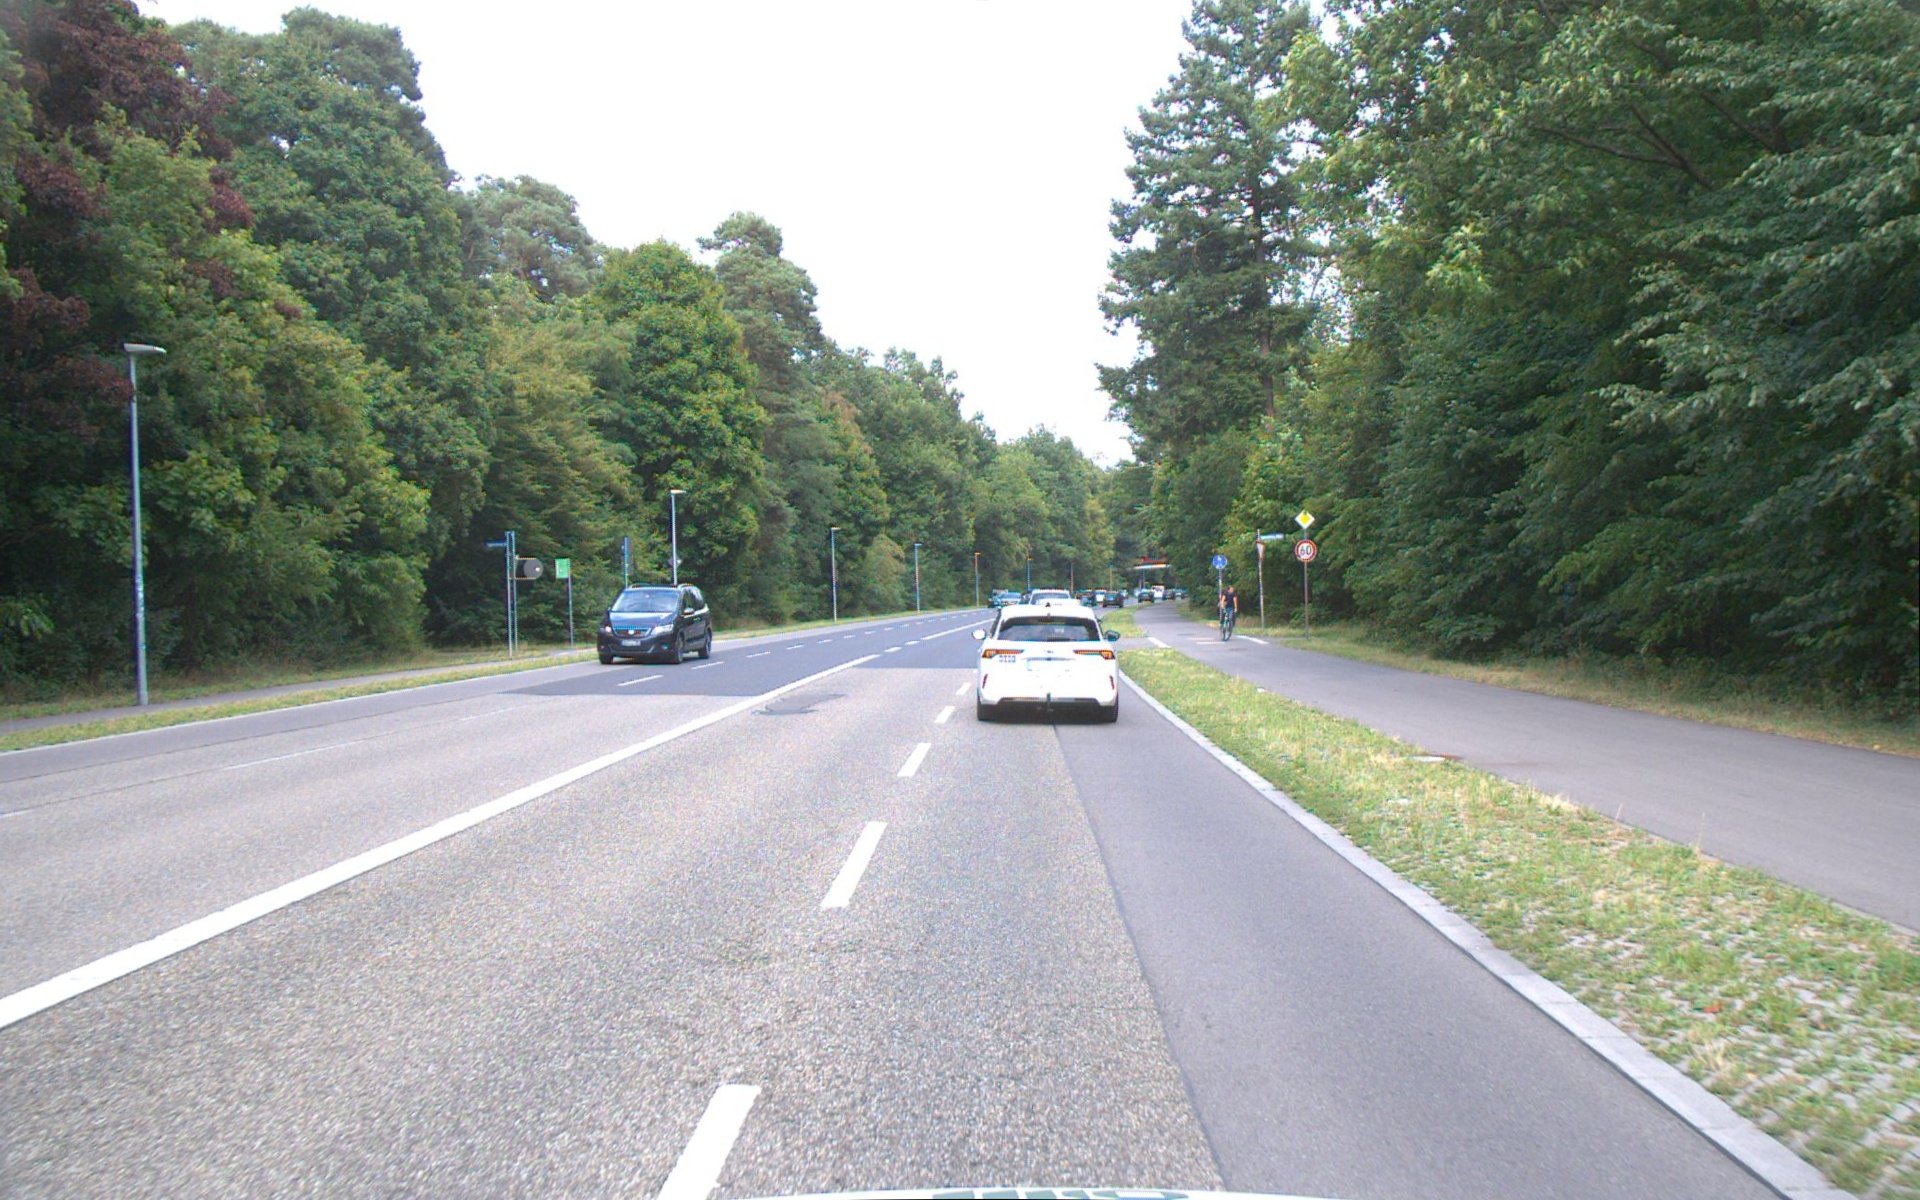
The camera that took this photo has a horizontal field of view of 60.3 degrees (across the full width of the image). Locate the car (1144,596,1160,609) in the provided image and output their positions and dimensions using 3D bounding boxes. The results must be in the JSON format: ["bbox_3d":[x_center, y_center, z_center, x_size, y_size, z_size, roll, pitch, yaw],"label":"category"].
[{"bbox_3d":[28.801,0.394,248.418,1.848,1.848,4.003,1,-1,14],"label":"car"}]

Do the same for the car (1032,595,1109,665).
[{"bbox_3d":[2.508,0.660,37.037,1.601,1.445,4.002,1,-1,5],"label":"car"}]

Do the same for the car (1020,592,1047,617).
[{"bbox_3d":[5.085,0.308,113.820,1.693,1.615,4.002,1,-1,4],"label":"car"}]

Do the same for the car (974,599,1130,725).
[{"bbox_3d":[1.205,0.746,21.612,1.798,1.435,4.492,1,0,3],"label":"car"}]

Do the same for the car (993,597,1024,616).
[{"bbox_3d":[3.729,0.517,127.481,1.951,1.460,4.724,0,-1,7],"label":"car"}]

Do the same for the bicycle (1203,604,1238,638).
[{"bbox_3d":[8.072,0.650,51.180,0.694,1.011,2.182,-1,0,19],"label":"bicycle"}]

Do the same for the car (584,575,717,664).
[{"bbox_3d":[-6.915,0.447,37.489,1.952,1.822,4.748,1,-1,2],"label":"car"}]

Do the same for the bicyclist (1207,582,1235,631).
[{"bbox_3d":[8.080,0.188,51.202,0.694,1.496,0.902,-1,0,19],"label":"bicyclist"}]

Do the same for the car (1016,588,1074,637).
[{"bbox_3d":[3.024,0.468,58.777,1.952,1.635,4.001,1,-1,3],"label":"car"}]

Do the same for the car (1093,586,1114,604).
[{"bbox_3d":[15.757,-0.576,181.157,1.951,1.814,4.003,1,-1,10],"label":"car"}]

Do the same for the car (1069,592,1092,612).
[{"bbox_3d":[11.934,0.188,163.537,1.951,1.814,4.003,1,-1,8],"label":"car"}]

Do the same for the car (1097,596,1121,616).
[{"bbox_3d":[14.112,0.600,156.403,1.951,1.814,4.003,1,-1,8],"label":"car"}]

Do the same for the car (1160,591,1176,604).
[{"bbox_3d":[29.374,-0.387,233.563,1.951,1.736,4.003,-1,0,13],"label":"car"}]

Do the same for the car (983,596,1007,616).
[{"bbox_3d":[3.113,0.529,147.024,1.882,1.684,4.472,0,-1,5],"label":"car"}]

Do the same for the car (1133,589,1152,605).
[{"bbox_3d":[22.513,-0.366,203.722,1.951,1.814,4.003,1,-1,10],"label":"car"}]
